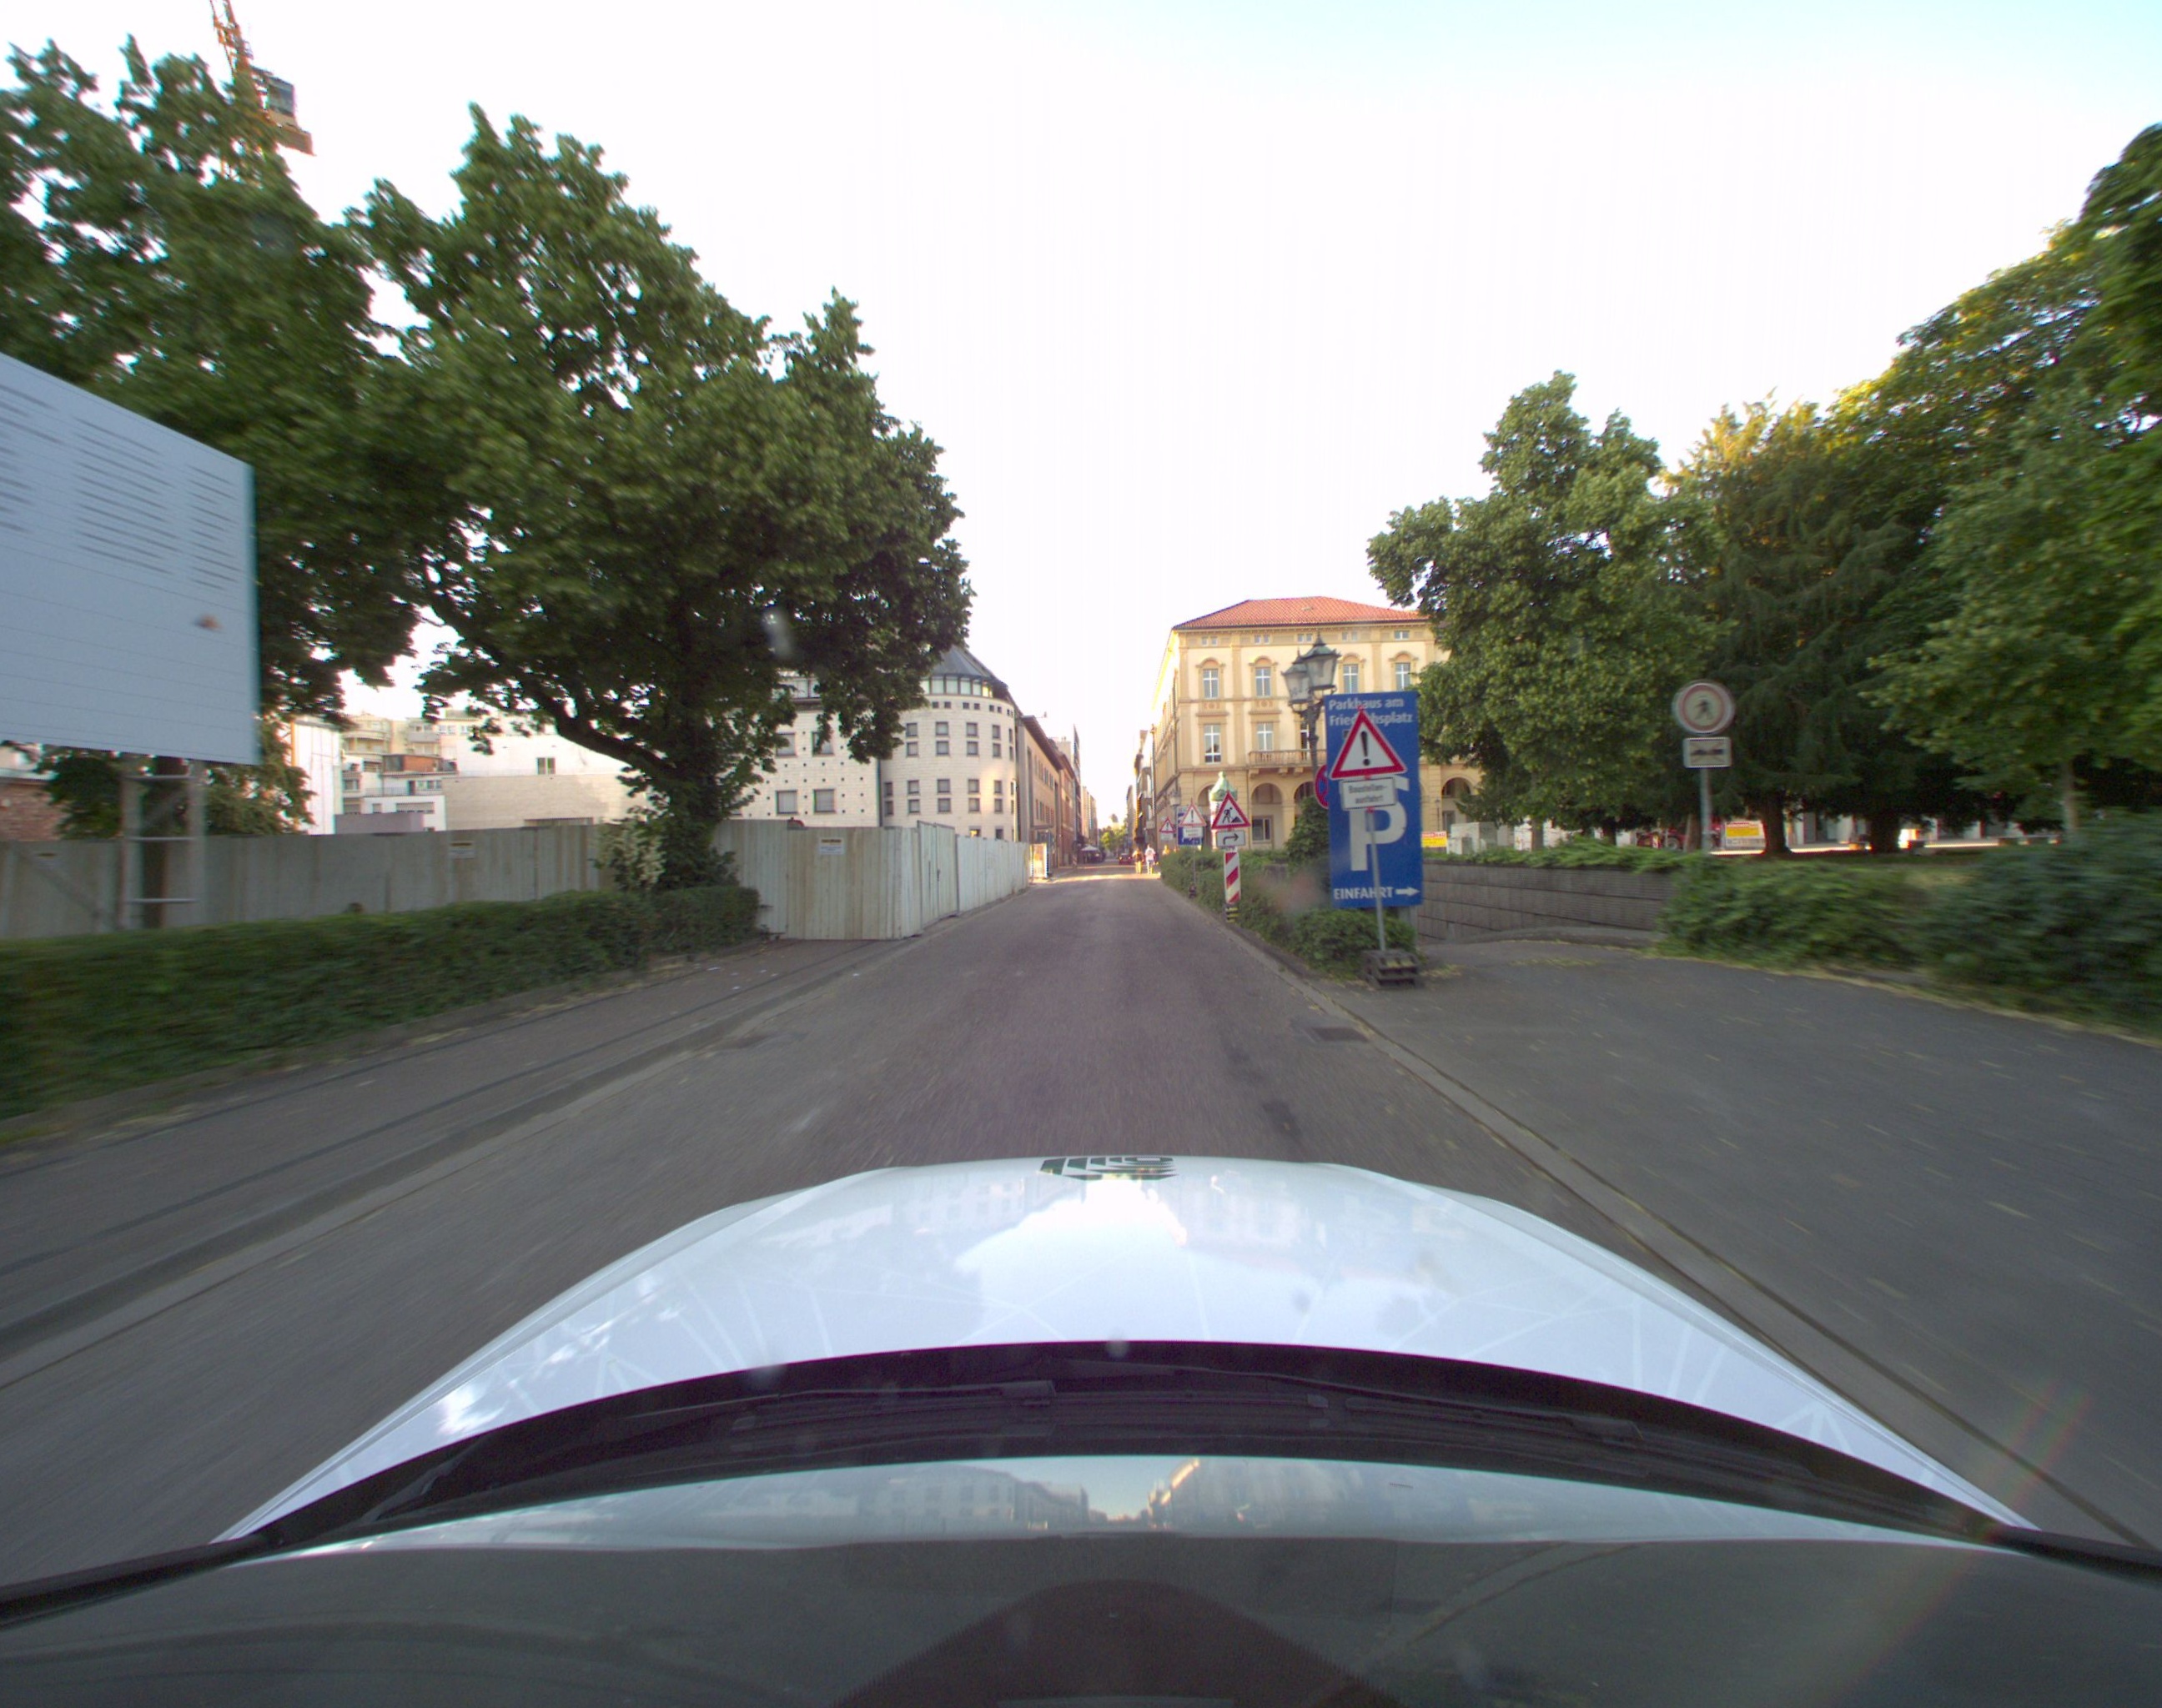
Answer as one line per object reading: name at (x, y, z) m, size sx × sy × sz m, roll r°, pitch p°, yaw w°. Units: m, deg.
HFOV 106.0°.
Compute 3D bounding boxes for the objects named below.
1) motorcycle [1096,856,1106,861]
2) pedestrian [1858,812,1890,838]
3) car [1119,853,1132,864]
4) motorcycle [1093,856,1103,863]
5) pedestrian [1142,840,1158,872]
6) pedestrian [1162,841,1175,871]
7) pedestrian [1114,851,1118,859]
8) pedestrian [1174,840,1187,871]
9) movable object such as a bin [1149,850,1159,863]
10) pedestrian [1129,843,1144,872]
motorcycle at (3.607, 0.775, 150.512) m, size 1.797 × 0.875 × 0.560 m, roll -2°, pitch -1°, yaw -2°
pedestrian at (41.357, -1.506, 42.485) m, size 0.705 × 1.252 × 0.926 m, roll -2°, pitch 0°, yaw -3°
car at (6.050, 0.620, 110.553) m, size 1.643 × 1.427 × 3.538 m, roll 1°, pitch 0°, yaw 3°
motorcycle at (2.959, 0.983, 142.336) m, size 1.797 × 1.040 × 0.493 m, roll -2°, pitch -1°, yaw -2°
pedestrian at (4.262, 0.127, 50.344) m, size 0.809 × 1.875 × 0.875 m, roll -2°, pitch -1°, yaw 1°
pedestrian at (5.252, 0.130, 48.912) m, size 0.634 × 1.803 × 0.772 m, roll -2°, pitch -1°, yaw 1°
pedestrian at (7.677, 0.247, 179.444) m, size 0.801 × 1.672 × 0.889 m, roll -2°, pitch -1°, yaw 4°
pedestrian at (5.950, 0.108, 48.921) m, size 0.634 × 1.803 × 0.772 m, roll -2°, pitch -1°, yaw 1°
movable object such as a bin at (8.027, 0.248, 89.512) m, size 0.987 × 1.392 × 1.241 m, roll -3°, pitch 0°, yaw 1°
pedestrian at (3.429, 0.232, 50.240) m, size 0.773 × 1.746 × 0.875 m, roll -2°, pitch -1°, yaw 1°
